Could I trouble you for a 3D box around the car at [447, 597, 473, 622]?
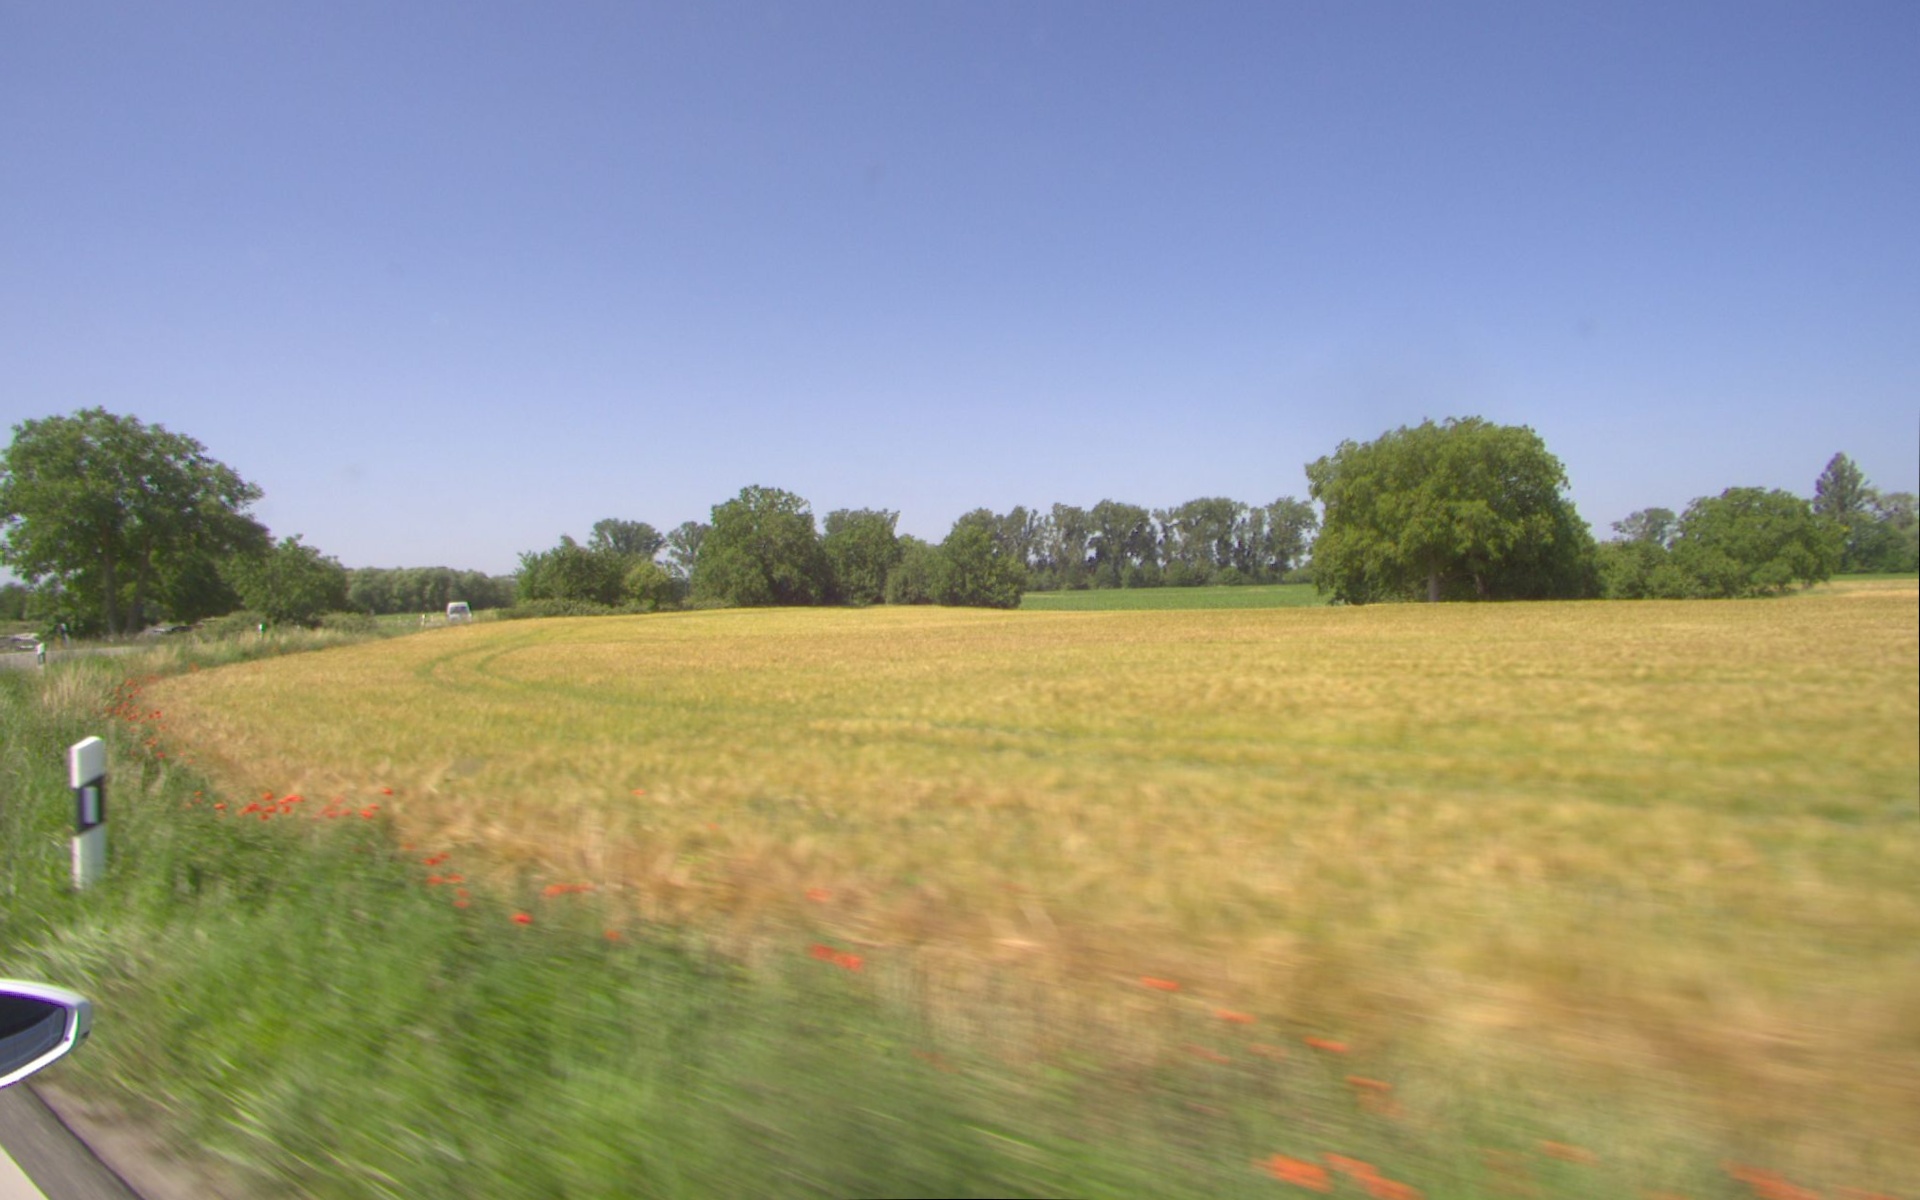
[{"bbox_3d":[-50.361,0.898,100.962,2.077,2.399,5.664,-2,1,-25],"label":"car"}]
